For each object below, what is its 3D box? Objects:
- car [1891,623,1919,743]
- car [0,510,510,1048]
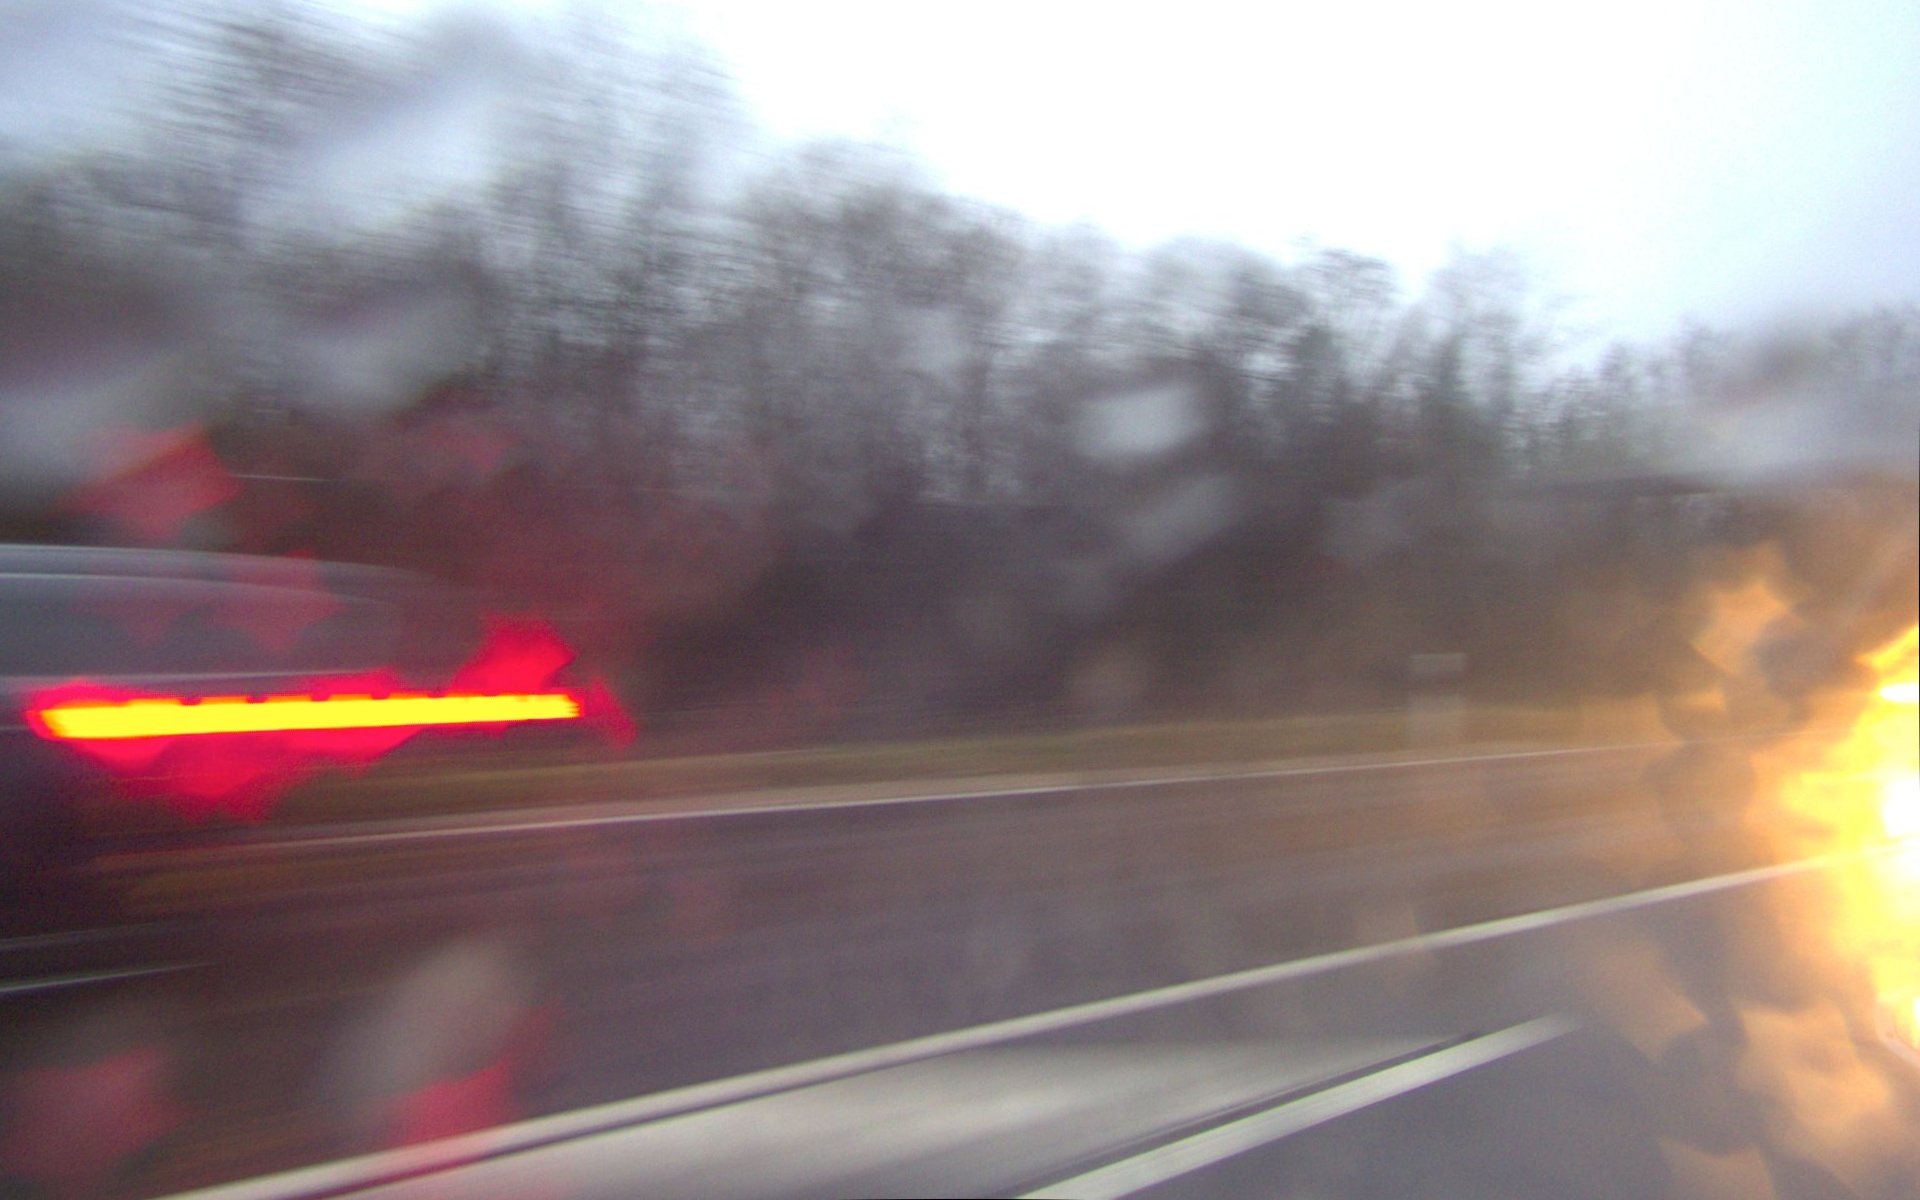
[{"bbox_3d":[13.952,1.067,12.830,4.326,1.473,1.796,1,-1,-29],"label":"car"},{"bbox_3d":[-4.095,0.537,3.555,4.414,1.669,1.852,2,-1,-29],"label":"car"}]
